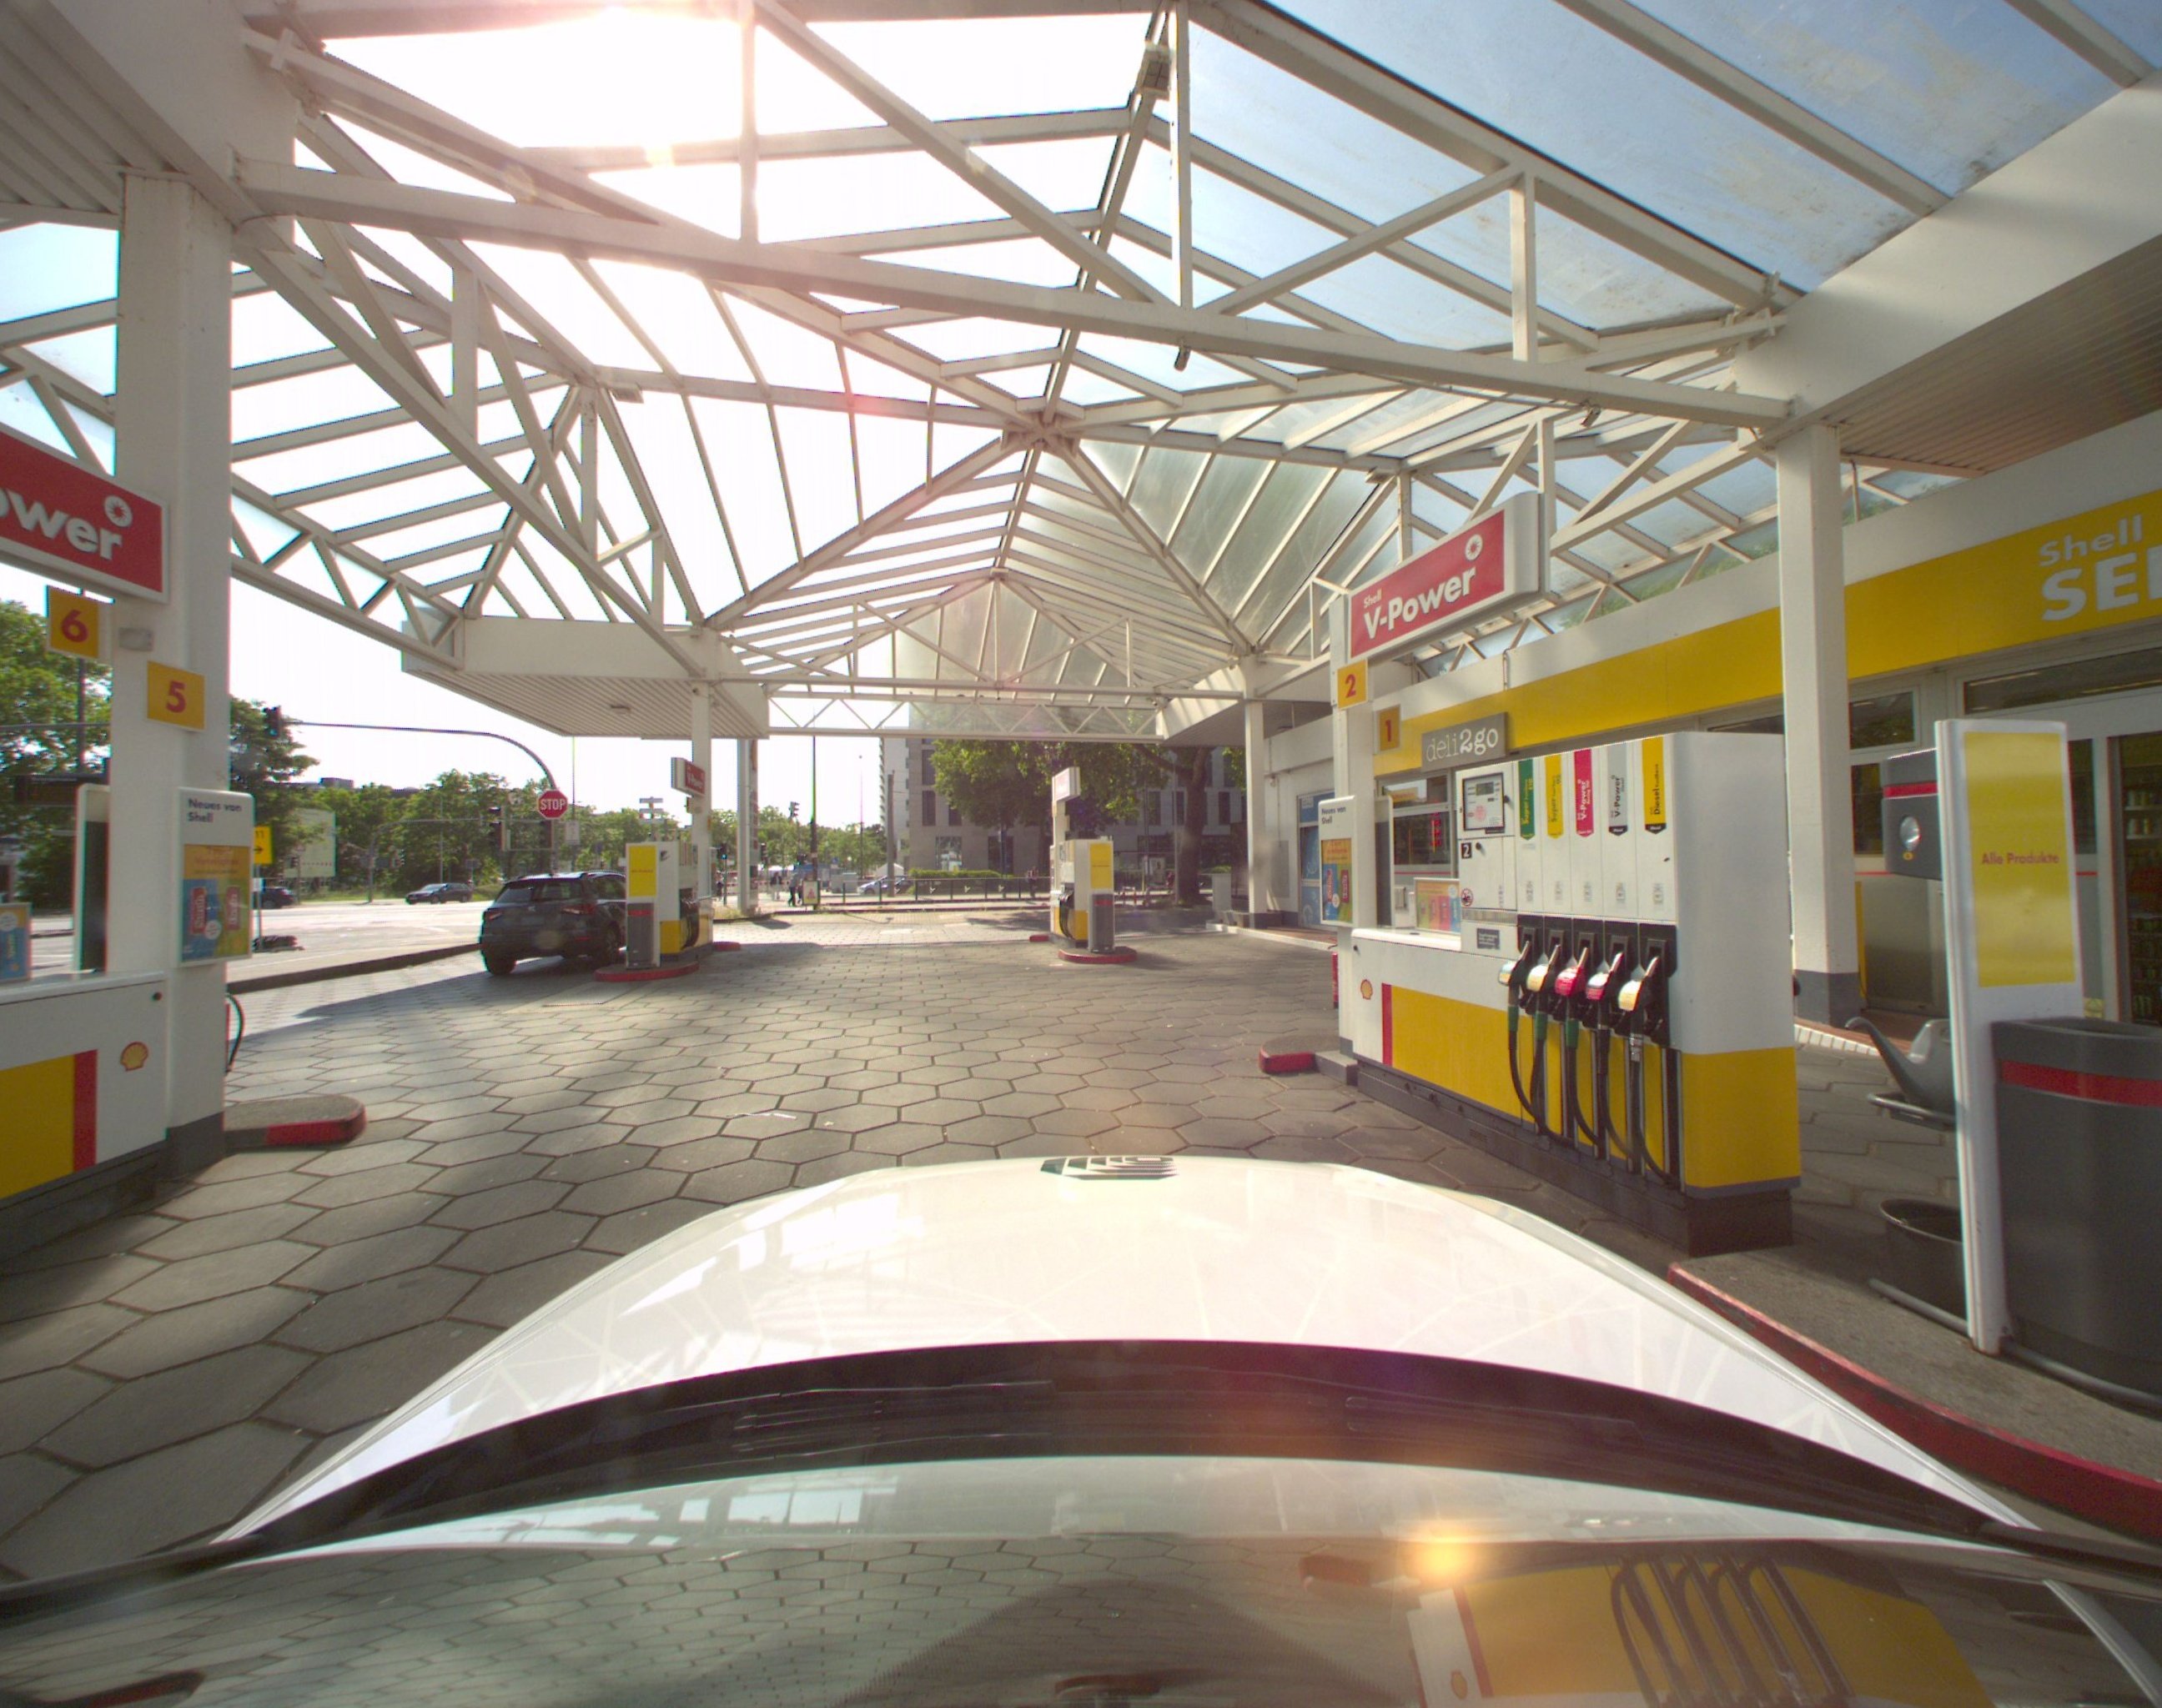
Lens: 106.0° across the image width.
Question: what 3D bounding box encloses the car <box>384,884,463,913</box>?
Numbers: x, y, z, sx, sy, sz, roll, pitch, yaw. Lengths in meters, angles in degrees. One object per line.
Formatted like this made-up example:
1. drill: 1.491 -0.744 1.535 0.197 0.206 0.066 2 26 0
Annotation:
1. car: -46.046 3.095 57.152 1.986 1.805 4.212 -3 -1 1

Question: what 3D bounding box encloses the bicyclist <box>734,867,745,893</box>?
1. bicyclist: -20.274 1.529 48.369 0.535 1.544 0.860 0 -2 -19

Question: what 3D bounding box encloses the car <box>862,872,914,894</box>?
1. car: -14.434 2.168 60.868 3.692 1.552 1.582 0 -1 -18

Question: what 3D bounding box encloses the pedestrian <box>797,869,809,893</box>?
1. pedestrian: -18.168 1.768 53.196 0.649 1.540 0.502 -1 -1 -4

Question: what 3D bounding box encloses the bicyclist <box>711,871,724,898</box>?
1. bicyclist: -21.438 1.781 48.043 0.640 1.580 1.165 0 -1 -21

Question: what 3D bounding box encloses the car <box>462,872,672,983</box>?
1. car: -8.473 1.117 13.864 1.745 1.532 3.982 -2 -1 -13

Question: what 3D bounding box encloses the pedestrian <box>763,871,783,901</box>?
1. pedestrian: -17.510 1.795 46.373 0.928 1.683 0.503 -1 -1 2

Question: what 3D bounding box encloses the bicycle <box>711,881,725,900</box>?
1. bicycle: -21.387 2.159 47.977 0.640 1.082 2.011 0 -1 -22

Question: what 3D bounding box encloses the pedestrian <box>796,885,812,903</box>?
1. pedestrian: -14.055 1.999 41.255 0.694 0.880 0.498 0 -1 -28

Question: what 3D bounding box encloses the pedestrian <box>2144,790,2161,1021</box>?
1. pedestrian: 8.592 0.387 6.176 0.532 1.762 0.567 0 -2 -33

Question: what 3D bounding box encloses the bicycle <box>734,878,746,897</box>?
1. bicycle: -20.255 1.986 48.363 0.525 1.082 1.854 0 -1 -20

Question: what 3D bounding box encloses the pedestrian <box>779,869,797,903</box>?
1. pedestrian: -14.714 1.603 40.904 0.781 1.683 0.498 0 -1 -28

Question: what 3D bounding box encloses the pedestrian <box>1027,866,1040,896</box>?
1. pedestrian: -2.536 1.449 43.536 0.584 1.591 0.667 -1 0 -13

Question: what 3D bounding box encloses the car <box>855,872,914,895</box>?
1. car: -13.939 2.049 57.739 3.998 1.552 1.693 0 -1 -18

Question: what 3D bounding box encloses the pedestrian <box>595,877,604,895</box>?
1. pedestrian: -37.965 2.517 64.246 0.566 1.469 0.509 0 -1 -29

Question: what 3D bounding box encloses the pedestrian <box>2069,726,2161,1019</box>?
1. pedestrian: 7.746 0.128 5.822 0.743 2.014 0.619 0 -2 -21

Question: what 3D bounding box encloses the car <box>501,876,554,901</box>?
1. car: -47.100 2.915 69.388 1.993 2.014 4.432 -3 -1 -9

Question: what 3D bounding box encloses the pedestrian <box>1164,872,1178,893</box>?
1. pedestrian: 5.037 1.595 45.511 0.627 1.138 0.523 -1 -1 -6

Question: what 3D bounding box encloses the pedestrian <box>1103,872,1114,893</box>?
1. pedestrian: 1.518 1.565 44.622 0.498 1.138 0.523 -1 -1 -6
